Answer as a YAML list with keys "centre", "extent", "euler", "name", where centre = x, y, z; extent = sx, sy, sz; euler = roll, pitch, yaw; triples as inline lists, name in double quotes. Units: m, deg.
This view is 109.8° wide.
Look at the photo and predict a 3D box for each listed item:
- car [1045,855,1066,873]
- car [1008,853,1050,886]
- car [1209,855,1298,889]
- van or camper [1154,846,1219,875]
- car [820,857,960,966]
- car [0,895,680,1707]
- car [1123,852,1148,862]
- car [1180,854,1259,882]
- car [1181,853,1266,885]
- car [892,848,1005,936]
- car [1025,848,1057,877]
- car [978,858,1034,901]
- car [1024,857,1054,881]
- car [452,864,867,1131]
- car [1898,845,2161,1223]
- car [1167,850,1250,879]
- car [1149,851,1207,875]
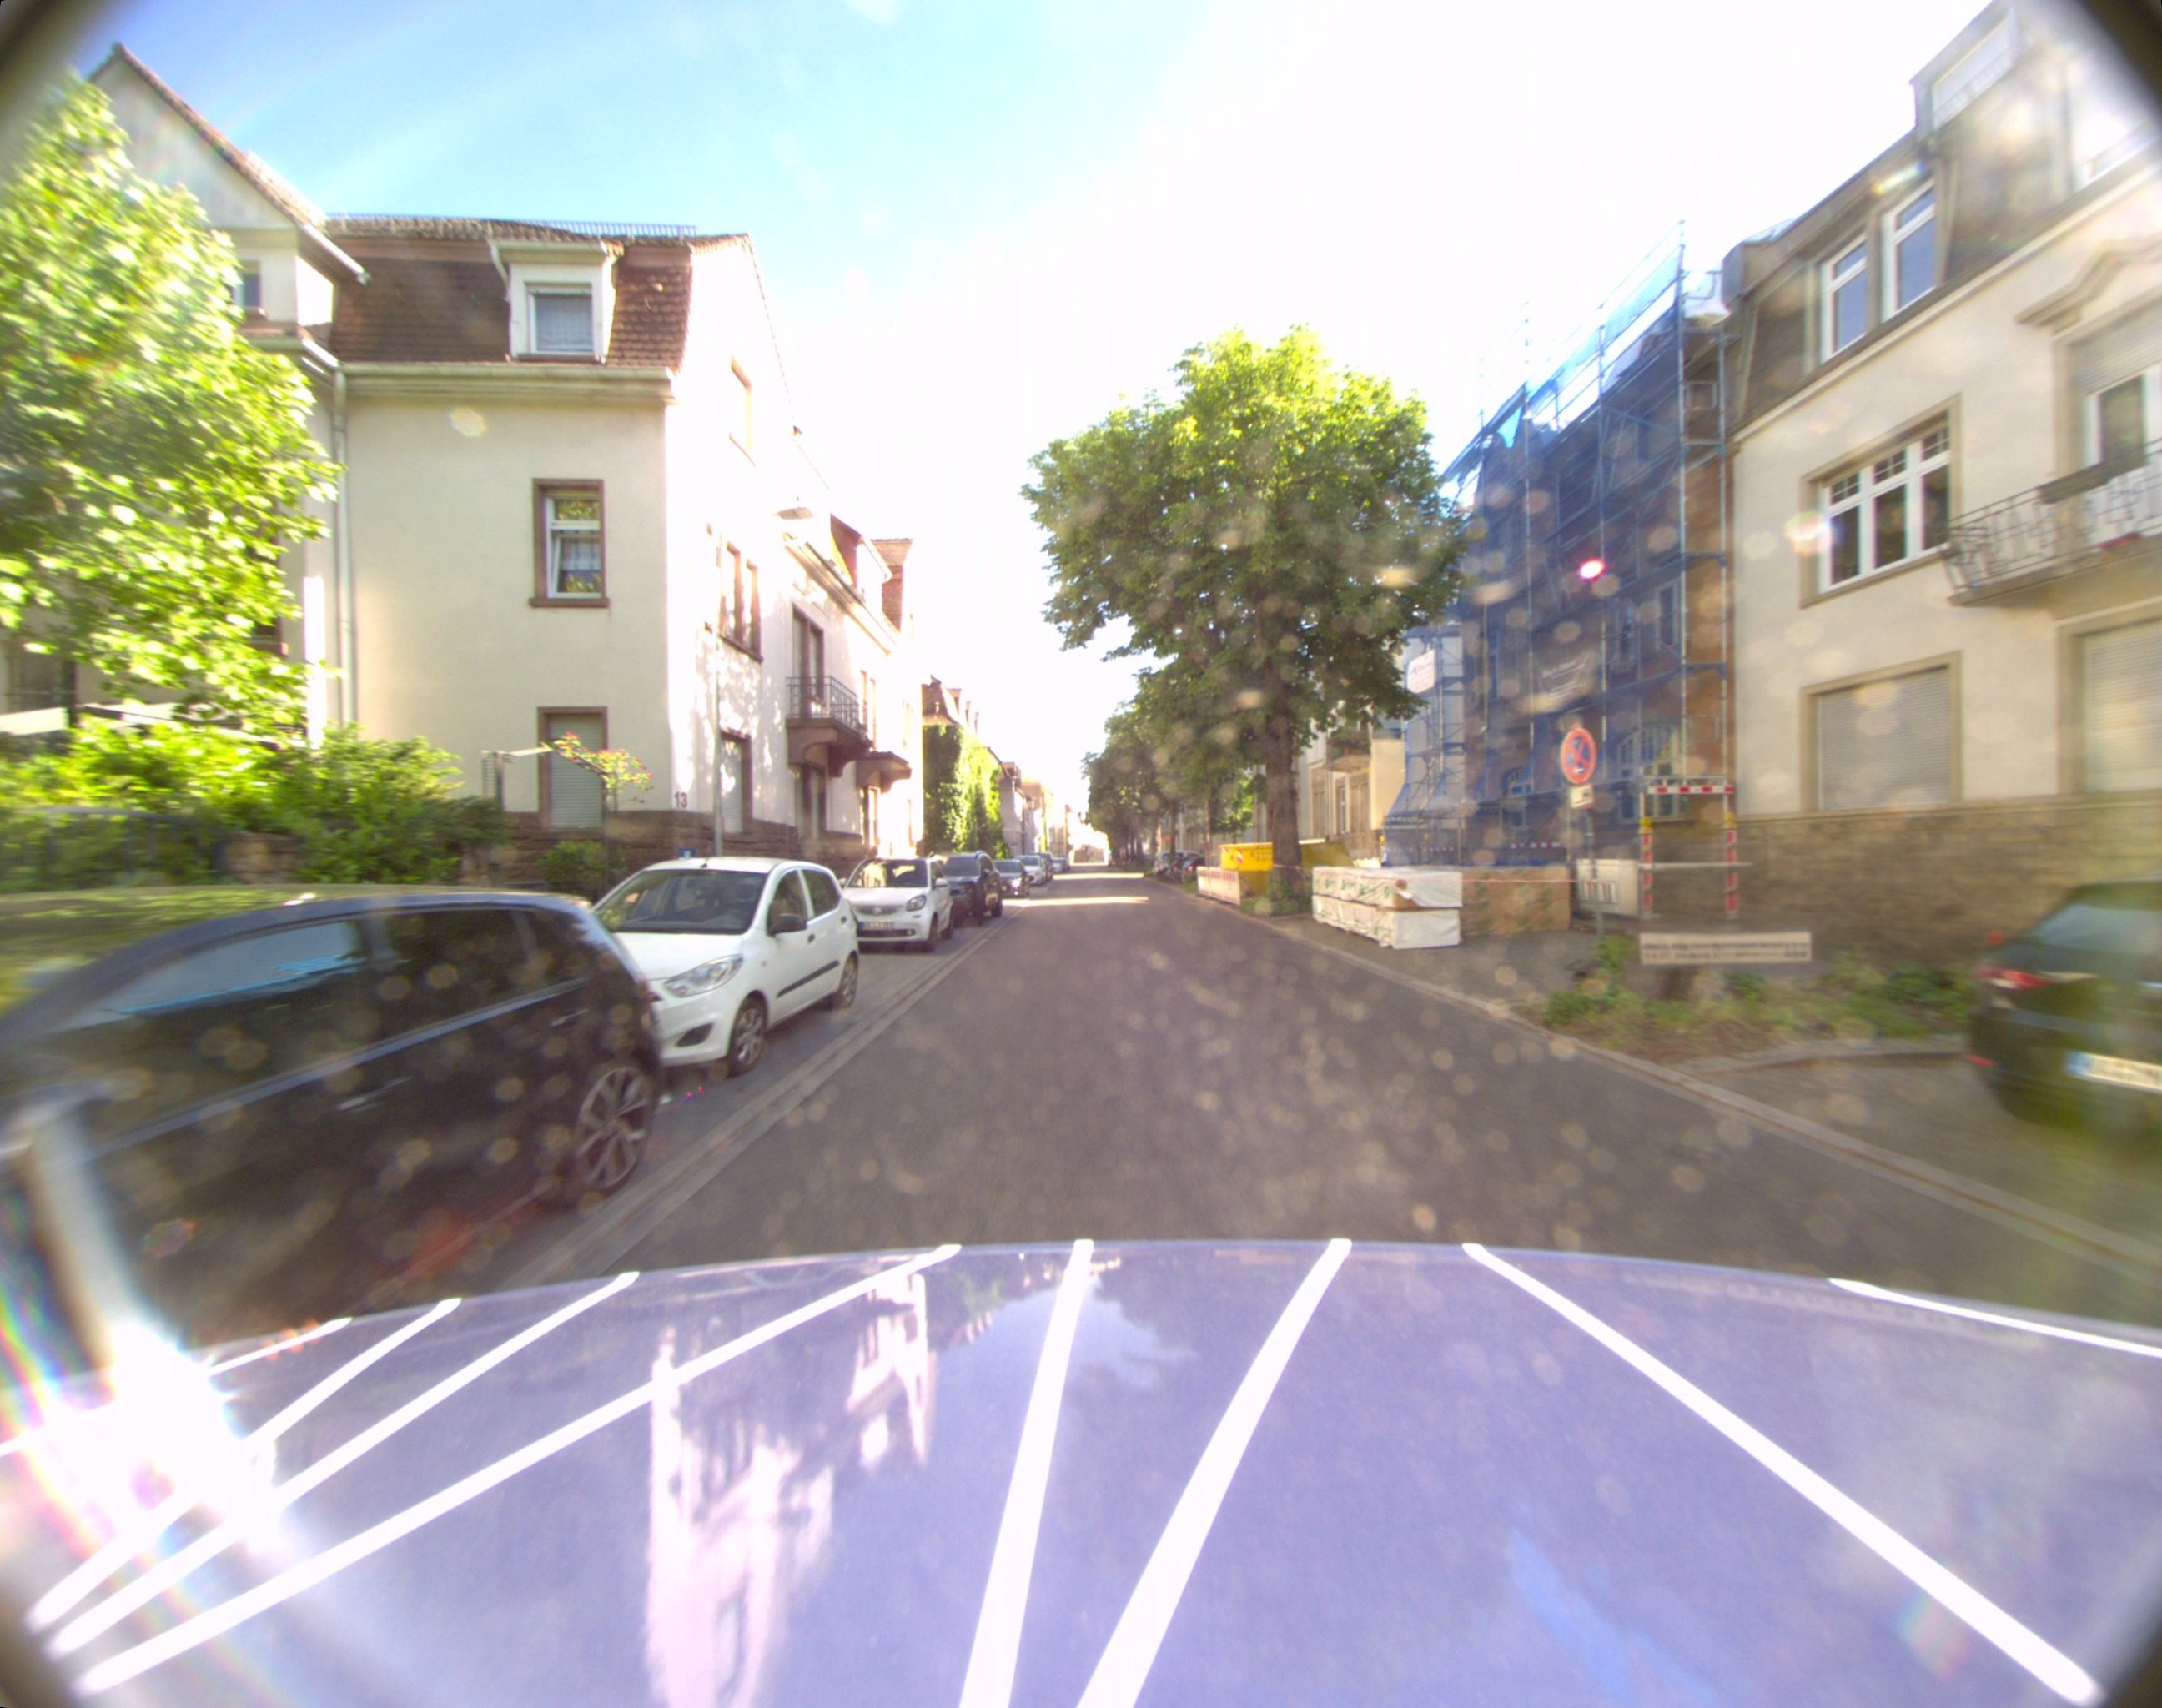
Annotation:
- centre: [-2.379, 0.927, 72.349]
  extent: [1.814, 1.546, 4.106]
  euler: [-1, 0, 0]
  name: "car"
- centre: [-2.732, 0.796, 40.756]
  extent: [1.872, 1.635, 4.199]
  euler: [0, 0, 1]
  name: "car"
- centre: [7.566, 0.774, 33.563]
  extent: [3.558, 1.440, 1.695]
  euler: [0, 0, 1]
  name: "car"
- centre: [6.867, 0.421, 49.851]
  extent: [3.954, 1.763, 1.809]
  euler: [-2, -1, 0]
  name: "van or camper"
- centre: [-3.170, 0.896, 13.131]
  extent: [1.629, 1.540, 2.868]
  euler: [-2, 1, 0]
  name: "car"
- centre: [-2.923, 0.983, 1.813]
  extent: [1.713, 1.428, 4.192]
  euler: [1, 1, 0]
  name: "car"
- centre: [7.869, 0.372, 110.760]
  extent: [3.496, 1.421, 1.542]
  euler: [-1, 0, 0]
  name: "car"
- centre: [7.057, 0.707, 38.879]
  extent: [3.757, 1.422, 1.646]
  euler: [0, 0, 1]
  name: "car"
- centre: [6.729, 0.711, 36.096]
  extent: [3.735, 1.456, 1.715]
  euler: [0, 0, 1]
  name: "car"
- centre: [-2.997, 0.782, 18.122]
  extent: [1.782, 1.686, 4.319]
  euler: [-3, 1, 1]
  name: "car"
- centre: [-2.738, 0.566, 53.059]
  extent: [1.857, 1.898, 4.851]
  euler: [-1, 0, 0]
  name: "car"
- centre: [-2.804, 0.921, 29.271]
  extent: [1.648, 1.445, 4.502]
  euler: [-2, 0, 0]
  name: "car"
- centre: [-2.566, 0.896, 47.111]
  extent: [1.641, 1.413, 4.008]
  euler: [-1, 0, 0]
  name: "car"
- centre: [-3.099, 0.921, 6.454]
  extent: [1.579, 1.540, 3.468]
  euler: [0, 1, 0]
  name: "car"
- centre: [6.477, 0.697, 3.474]
  extent: [3.883, 1.505, 1.831]
  euler: [-4, 1, -8]
  name: "car"
- centre: [6.844, 0.578, 41.083]
  extent: [4.150, 1.393, 1.710]
  euler: [-2, 0, 0]
  name: "car"
- centre: [6.631, 0.582, 52.149]
  extent: [3.734, 1.507, 1.722]
  euler: [-2, 0, -1]
  name: "car"
